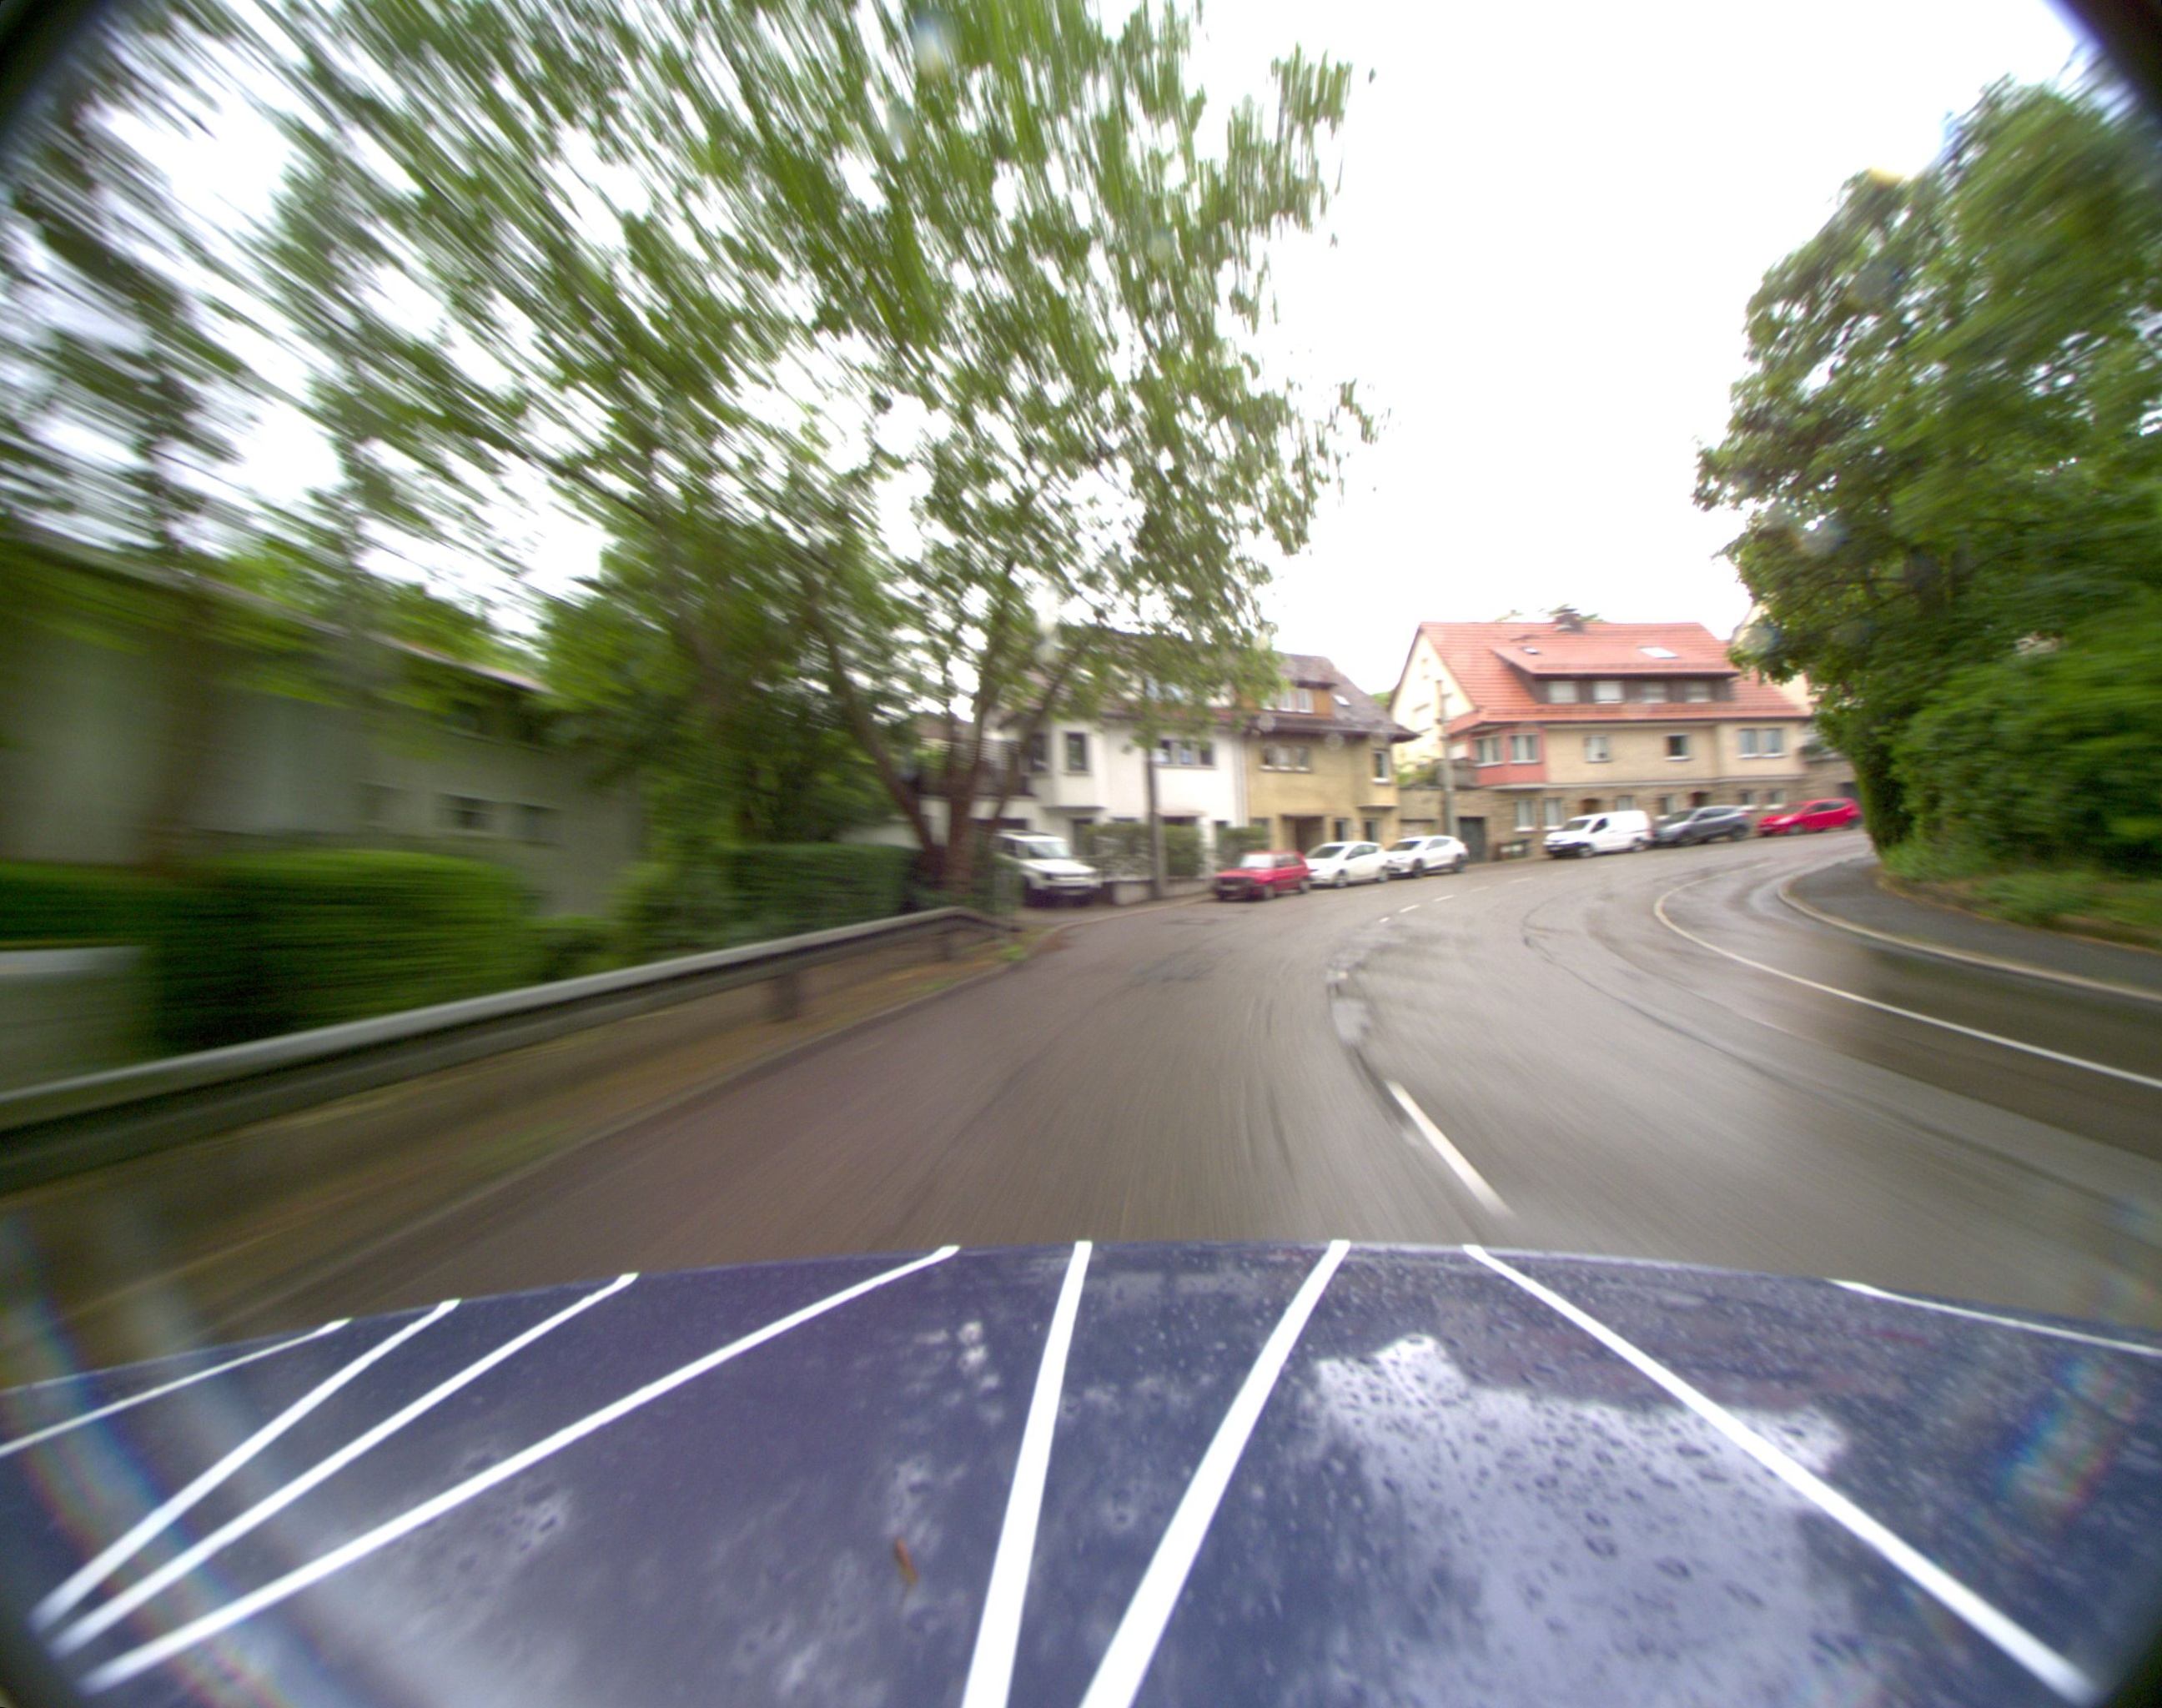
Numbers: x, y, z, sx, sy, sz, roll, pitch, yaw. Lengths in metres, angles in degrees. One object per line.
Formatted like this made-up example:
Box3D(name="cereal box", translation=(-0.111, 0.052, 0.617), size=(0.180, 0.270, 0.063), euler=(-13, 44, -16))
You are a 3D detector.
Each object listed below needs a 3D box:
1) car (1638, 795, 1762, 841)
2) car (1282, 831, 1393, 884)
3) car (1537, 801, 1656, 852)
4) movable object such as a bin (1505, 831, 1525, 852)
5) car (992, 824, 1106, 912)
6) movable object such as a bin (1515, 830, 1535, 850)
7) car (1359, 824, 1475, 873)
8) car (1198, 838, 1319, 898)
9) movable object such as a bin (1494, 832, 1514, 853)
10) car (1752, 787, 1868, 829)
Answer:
Box3D(name="car", translation=(27.696, -1.610, 34.070), size=(4.410, 1.595, 1.619), euler=(-5, 0, -7))
Box3D(name="car", translation=(8.940, 0.113, 26.361), size=(3.829, 1.506, 1.766), euler=(-5, 1, -38))
Box3D(name="car", translation=(22.646, -1.202, 33.402), size=(4.327, 1.780, 1.709), euler=(-5, -1, -13))
Box3D(name="movable object such as a bin", translation=(20.338, -0.578, 35.631), size=(0.512, 0.917, 0.581), euler=(-5, 2, -7))
Box3D(name="car", translation=(-1.073, 0.282, 22.315), size=(2.002, 1.835, 4.396), euler=(-3, 9, -21))
Box3D(name="movable object such as a bin", translation=(20.847, -0.650, 35.685), size=(0.512, 0.917, 0.581), euler=(-5, 2, -7))
Box3D(name="car", translation=(12.925, -0.233, 29.136), size=(4.421, 1.529, 1.915), euler=(-5, 1, -33))
Box3D(name="car", translation=(5.424, 0.383, 22.853), size=(1.781, 1.359, 4.202), euler=(-4, 2, 40))
Box3D(name="movable object such as a bin", translation=(19.795, -0.537, 35.549), size=(0.512, 0.917, 0.581), euler=(-5, 2, -7))
Box3D(name="car", translation=(33.052, -2.073, 34.502), size=(3.578, 1.427, 1.620), euler=(-6, 0, 1))
